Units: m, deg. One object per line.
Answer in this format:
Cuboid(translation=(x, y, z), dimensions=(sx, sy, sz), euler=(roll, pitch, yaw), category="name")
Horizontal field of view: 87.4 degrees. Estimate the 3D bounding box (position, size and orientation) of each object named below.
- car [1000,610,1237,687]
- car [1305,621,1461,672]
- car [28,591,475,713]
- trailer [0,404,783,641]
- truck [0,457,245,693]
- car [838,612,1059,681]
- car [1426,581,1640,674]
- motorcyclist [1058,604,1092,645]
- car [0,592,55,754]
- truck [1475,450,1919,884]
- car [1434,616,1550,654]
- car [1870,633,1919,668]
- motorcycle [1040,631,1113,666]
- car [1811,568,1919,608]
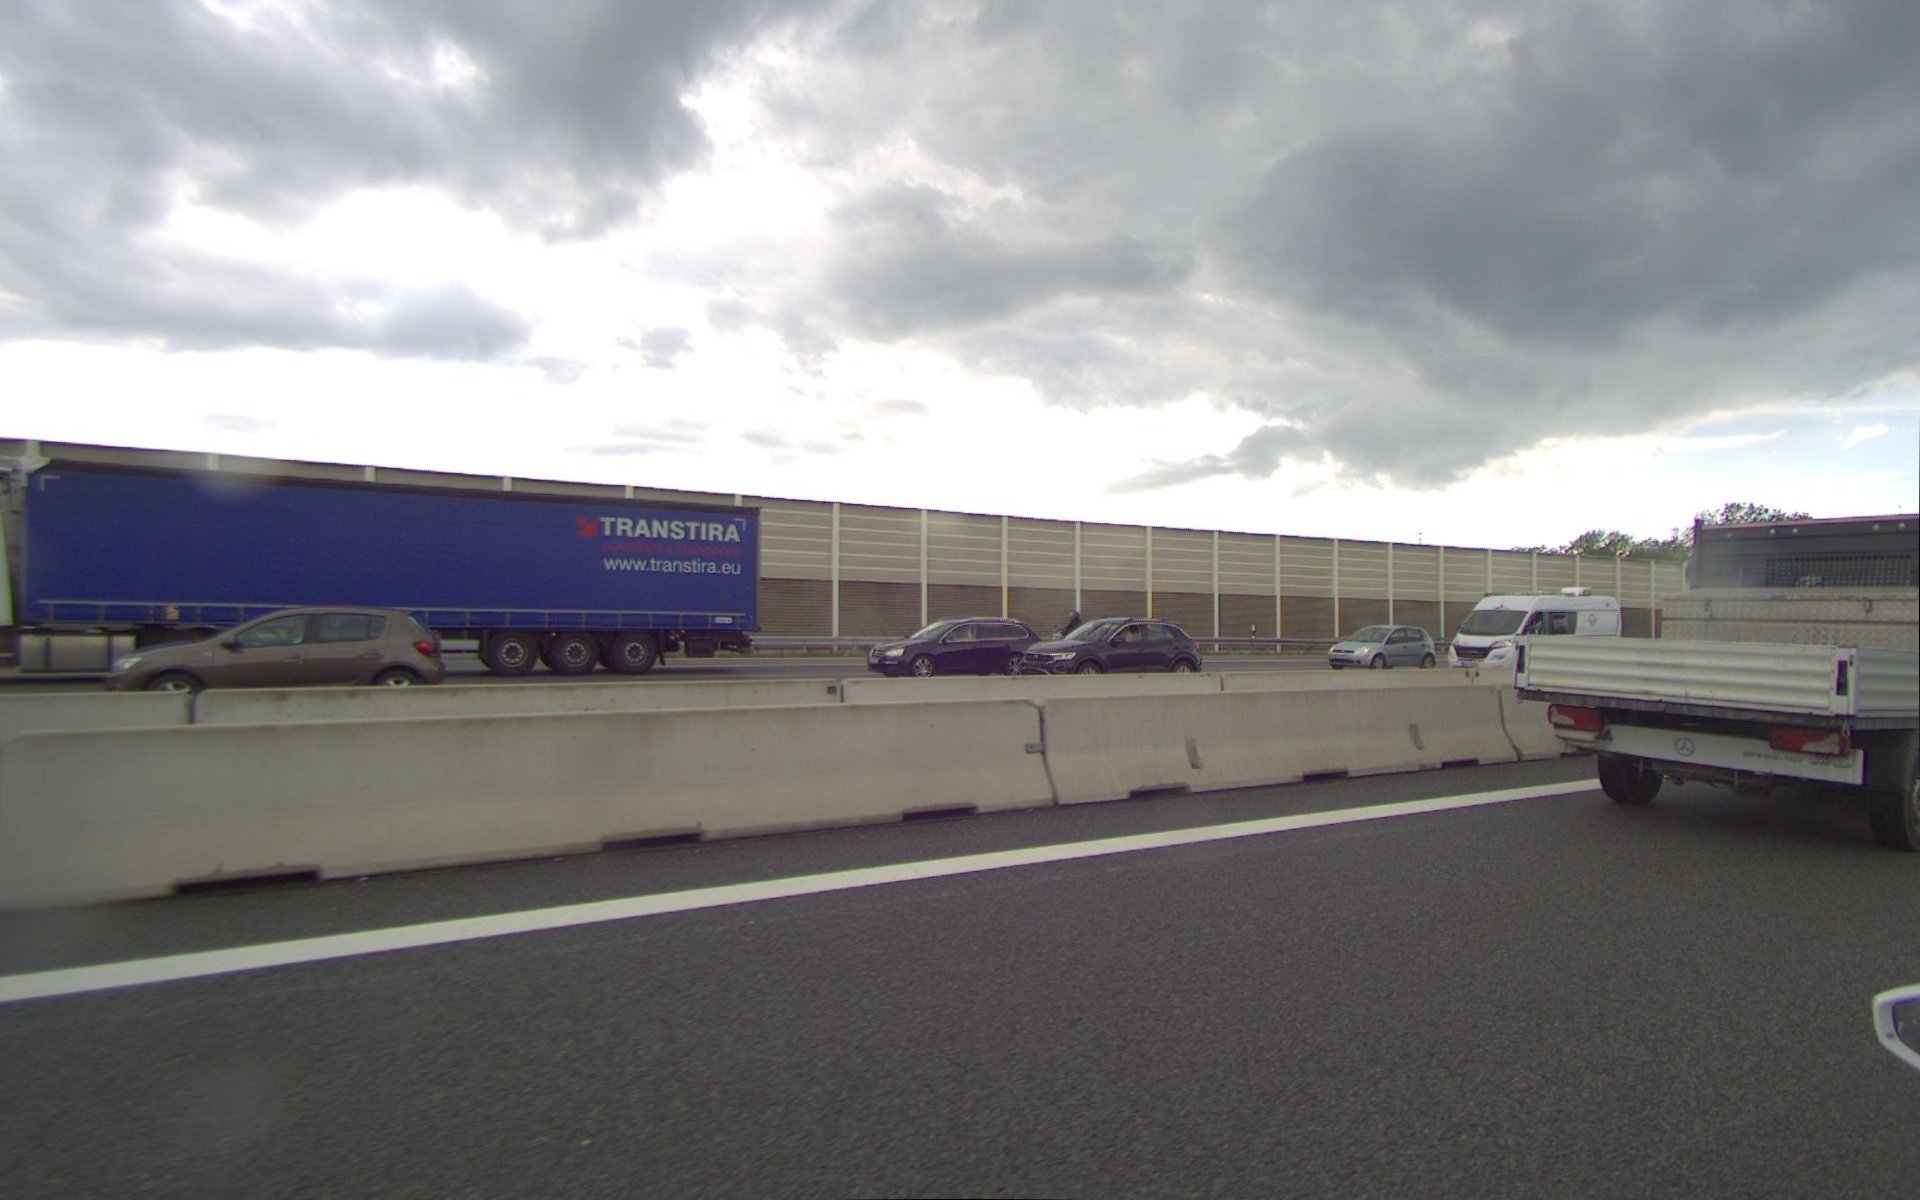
Cuboid(translation=(3.510, 1.042, 22.010), dimensions=(4.936, 1.511, 2.051), euler=(2, -1, -29), category="car")
Cuboid(translation=(13.786, 1.508, 32.676), dimensions=(4.936, 1.511, 2.051), euler=(2, -1, -29), category="car")
Cuboid(translation=(-9.805, 0.721, 14.503), dimensions=(4.936, 1.511, 2.051), euler=(2, -1, -29), category="car")
Cuboid(translation=(-11.174, -1.191, 22.183), dimensions=(14.287, 4.085, 2.747), euler=(1, 0, -31), category="trailer")
Cuboid(translation=(-16.973, -0.423, 18.697), dimensions=(5.660, 4.088, 2.731), euler=(1, 0, -31), category="truck")
Cuboid(translation=(-0.246, 1.113, 24.203), dimensions=(4.936, 1.511, 2.051), euler=(2, -1, -29), category="car")
Cuboid(translation=(17.526, 0.852, 30.594), dimensions=(7.000, 2.584, 2.373), euler=(2, -1, -29), category="car")
Cuboid(translation=(3.553, 0.752, 31.016), dimensions=(0.787, 1.240, 0.634), euler=(1, 1, -30), category="motorcyclist")
Cuboid(translation=(-11.448, 0.611, 8.753), dimensions=(4.942, 1.511, 2.049), euler=(2, -1, -32), category="car")
Cuboid(translation=(7.545, 0.435, 8.585), dimensions=(7.068, 2.472, 2.294), euler=(1, 0, -32), category="truck")
Cuboid(translation=(22.843, 1.523, 43.089), dimensions=(4.936, 1.511, 2.051), euler=(2, -1, -29), category="car")
Cuboid(translation=(44.336, 2.318, 46.301), dimensions=(4.936, 1.511, 2.051), euler=(2, -1, -29), category="car")
Cuboid(translation=(3.608, 1.489, 31.054), dimensions=(2.402, 1.021, 0.515), euler=(1, 1, -30), category="motorcycle")
Cuboid(translation=(39.134, -0.488, 43.335), dimensions=(4.936, 1.511, 2.051), euler=(2, -1, -29), category="car")
